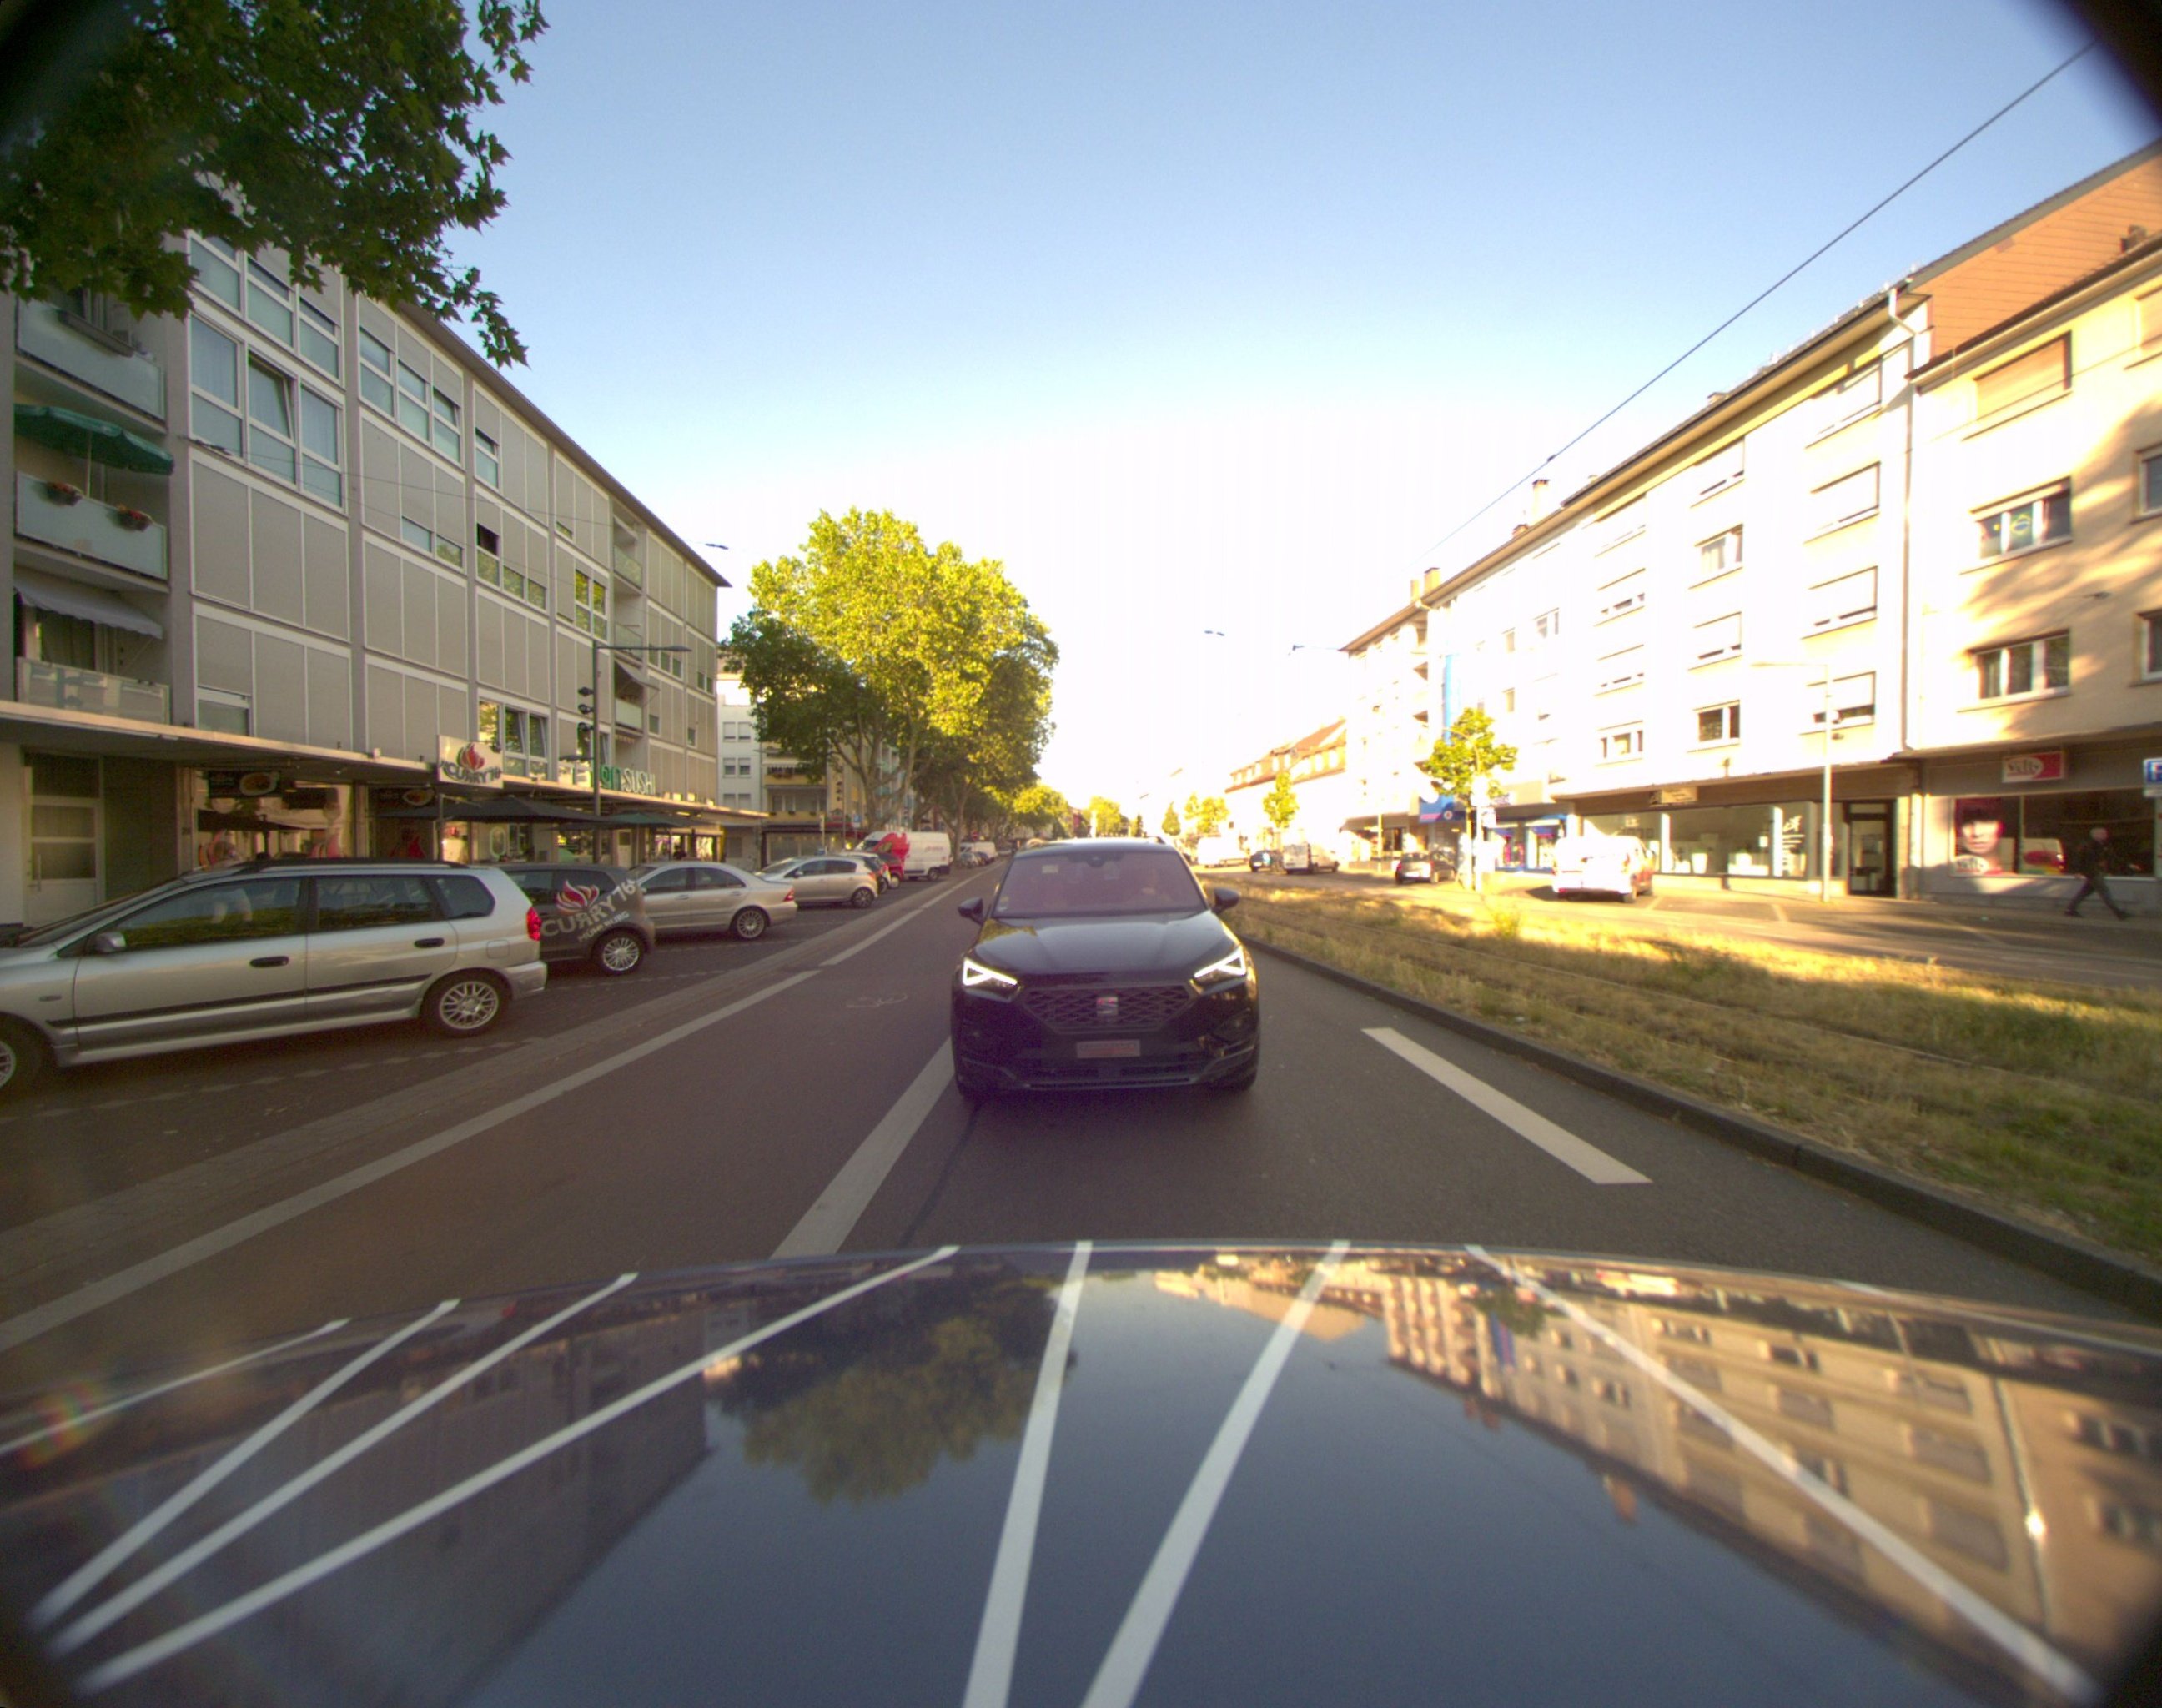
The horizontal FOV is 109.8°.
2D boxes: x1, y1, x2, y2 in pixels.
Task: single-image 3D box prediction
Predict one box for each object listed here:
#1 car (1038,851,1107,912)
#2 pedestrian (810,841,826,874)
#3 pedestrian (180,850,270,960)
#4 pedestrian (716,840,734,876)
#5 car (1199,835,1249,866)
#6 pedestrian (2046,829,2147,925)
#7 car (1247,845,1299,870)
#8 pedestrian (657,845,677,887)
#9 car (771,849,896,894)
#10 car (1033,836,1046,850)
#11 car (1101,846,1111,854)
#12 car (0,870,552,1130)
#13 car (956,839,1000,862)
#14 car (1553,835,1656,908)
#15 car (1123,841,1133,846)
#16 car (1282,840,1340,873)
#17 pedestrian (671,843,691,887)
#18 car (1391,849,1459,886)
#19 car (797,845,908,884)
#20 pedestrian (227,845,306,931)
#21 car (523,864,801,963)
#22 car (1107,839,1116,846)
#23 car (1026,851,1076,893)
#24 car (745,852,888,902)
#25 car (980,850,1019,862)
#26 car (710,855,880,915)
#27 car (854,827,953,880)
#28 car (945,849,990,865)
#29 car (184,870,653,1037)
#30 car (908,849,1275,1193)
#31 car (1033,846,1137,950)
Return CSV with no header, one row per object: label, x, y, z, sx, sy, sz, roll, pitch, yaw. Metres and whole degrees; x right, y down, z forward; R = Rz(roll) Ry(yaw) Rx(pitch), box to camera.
car,-0.233,0.702,21.486,1.729,1.467,3.999,-2,1,-1
pedestrian,-16.034,0.201,46.364,0.748,1.964,0.575,0,1,-4
pedestrian,-12.518,0.727,11.133,0.561,1.567,0.642,0,1,-5
pedestrian,-19.710,0.226,42.097,0.748,2.002,0.559,0,1,-4
car,12.983,-0.369,68.624,1.922,2.599,6.601,-1,1,34
pedestrian,20.002,0.430,14.984,0.757,1.817,0.917,-1,1,1
car,13.800,0.237,54.515,3.922,1.704,1.853,-2,1,-45
pedestrian,-16.253,0.469,29.823,0.537,1.630,0.478,0,1,-4
car,-8.848,0.637,27.256,3.948,1.421,1.672,2,2,-32
car,-9.531,-2.507,173.290,2.660,2.989,7.131,-2,1,-2
car,5.512,-0.866,167.012,1.846,1.571,4.449,0,1,-1
car,-6.833,0.949,6.038,1.672,1.533,3.993,2,1,38
car,-11.531,-0.420,85.099,1.973,2.454,4.605,1,1,44
car,15.611,0.445,22.579,1.853,1.888,4.007,-1,2,44
car,15.884,-3.530,256.439,2.496,1.871,5.278,0,1,11
car,14.522,0.105,47.826,1.853,1.927,4.513,-1,1,40
pedestrian,-15.681,0.438,29.794,0.545,1.710,0.457,0,1,-4
car,15.395,0.564,33.924,1.731,1.489,4.008,-1,1,40
car,-9.174,0.444,30.544,3.948,1.421,1.672,1,2,-31
pedestrian,-15.161,0.613,14.161,0.583,1.573,0.771,0,1,2
car,-7.174,0.917,13.328,1.592,1.393,3.950,2,1,41
car,8.058,-3.039,203.718,1.999,1.783,3.998,0,1,-4
car,-1.111,0.641,29.646,1.729,1.443,4.227,-2,1,-1
car,-8.351,0.720,24.098,3.949,1.420,1.672,1,1,-34
car,-8.792,0.199,82.331,1.778,1.326,3.943,1,1,44
car,-7.609,0.793,20.443,3.950,1.420,1.555,1,1,-45
car,-8.762,-0.001,37.810,4.606,2.479,1.672,0,0,-44
car,-10.849,0.276,72.849,1.778,1.396,3.943,1,1,44
car,-7.559,0.960,9.031,1.672,1.420,3.950,2,1,38
car,0.080,0.836,5.819,1.785,1.639,3.999,-2,1,1
car,0.049,0.701,14.404,1.646,1.646,3.999,-2,1,-1
